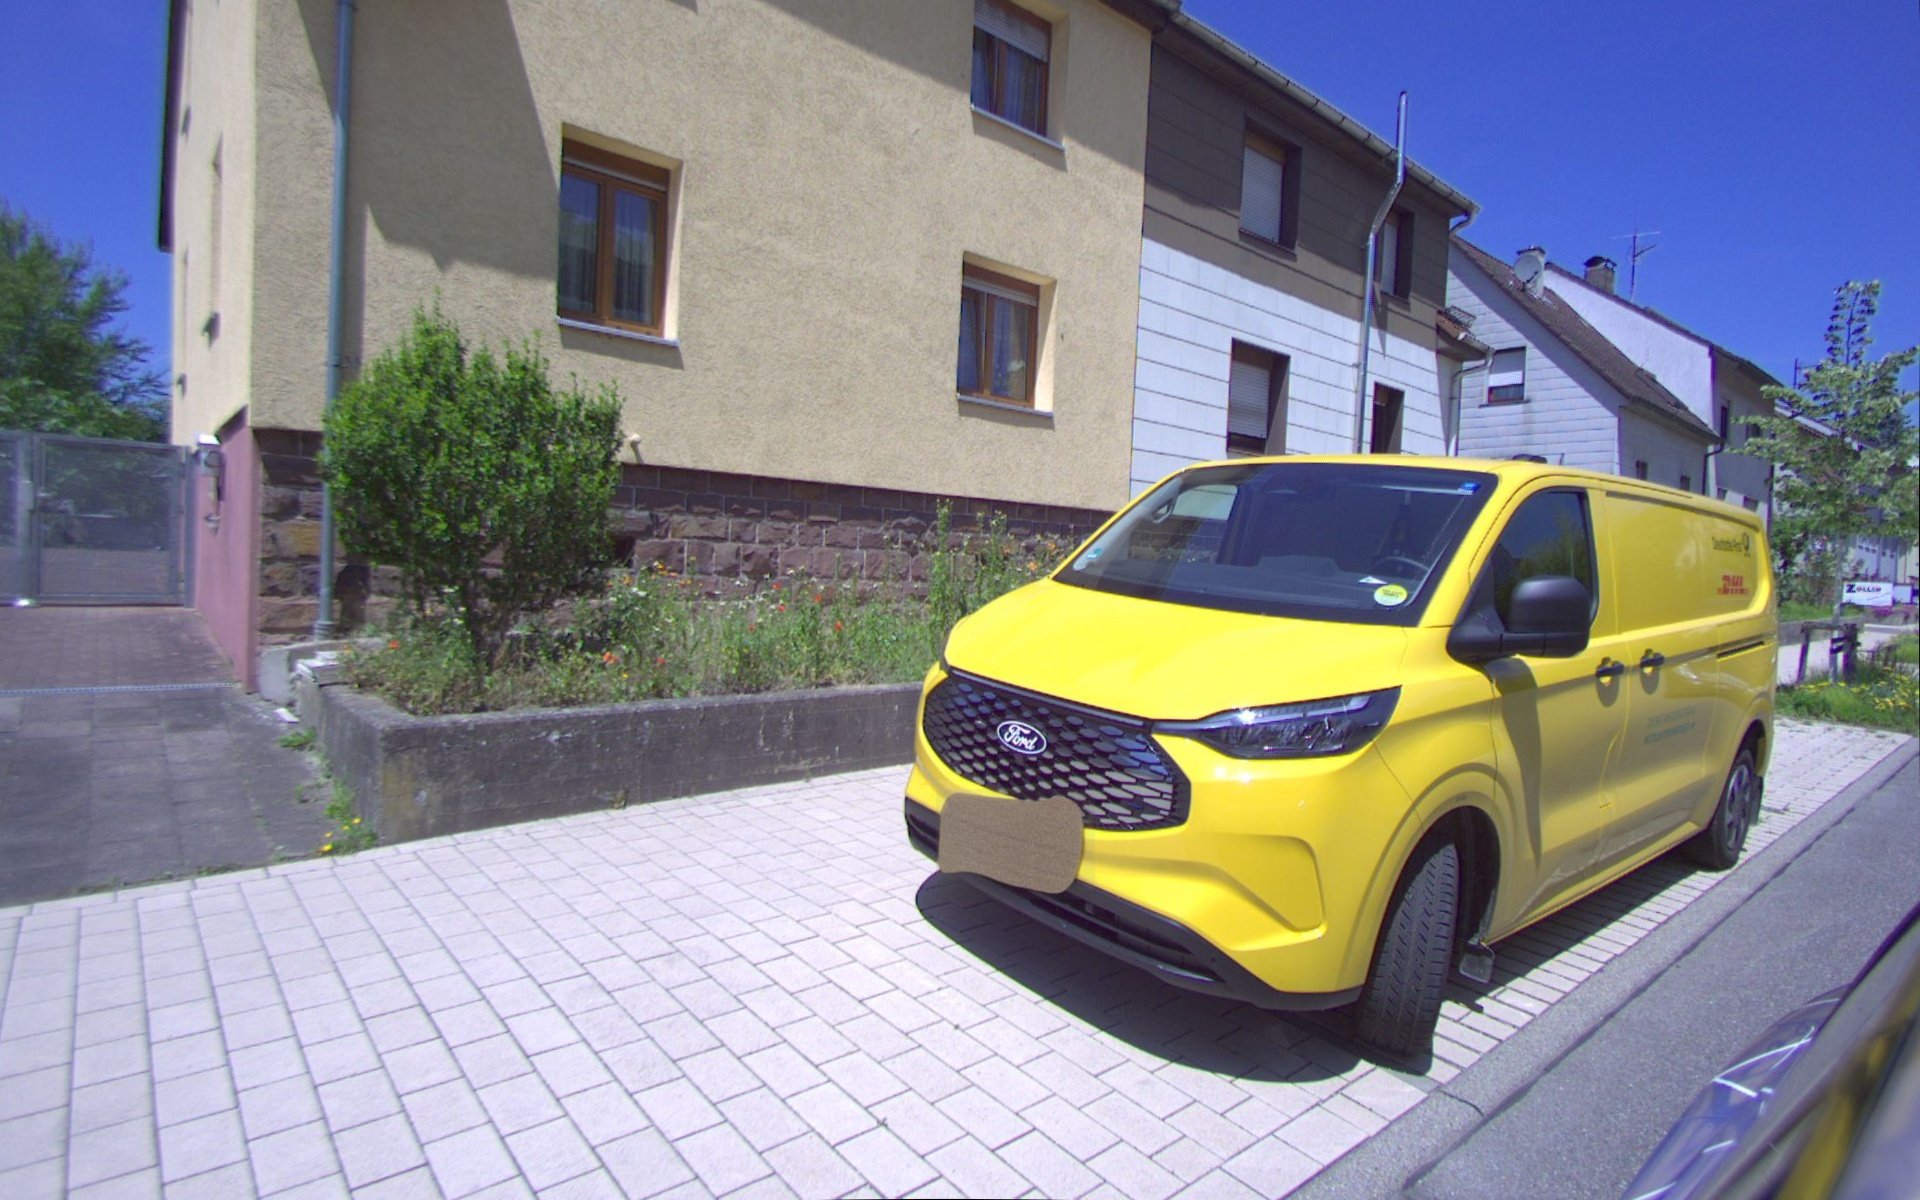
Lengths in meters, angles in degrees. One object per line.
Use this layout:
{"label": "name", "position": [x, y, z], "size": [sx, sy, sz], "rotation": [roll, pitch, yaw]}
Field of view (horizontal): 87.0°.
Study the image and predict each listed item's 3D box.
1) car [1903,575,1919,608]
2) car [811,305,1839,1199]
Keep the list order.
{"label": "car", "position": [52.180, -0.444, 54.167], "size": [4.428, 1.640, 1.868], "rotation": [-1, 6, -40]}
{"label": "car", "position": [2.244, 0.223, 4.864], "size": [5.527, 2.037, 2.195], "rotation": [-2, 7, -42]}
